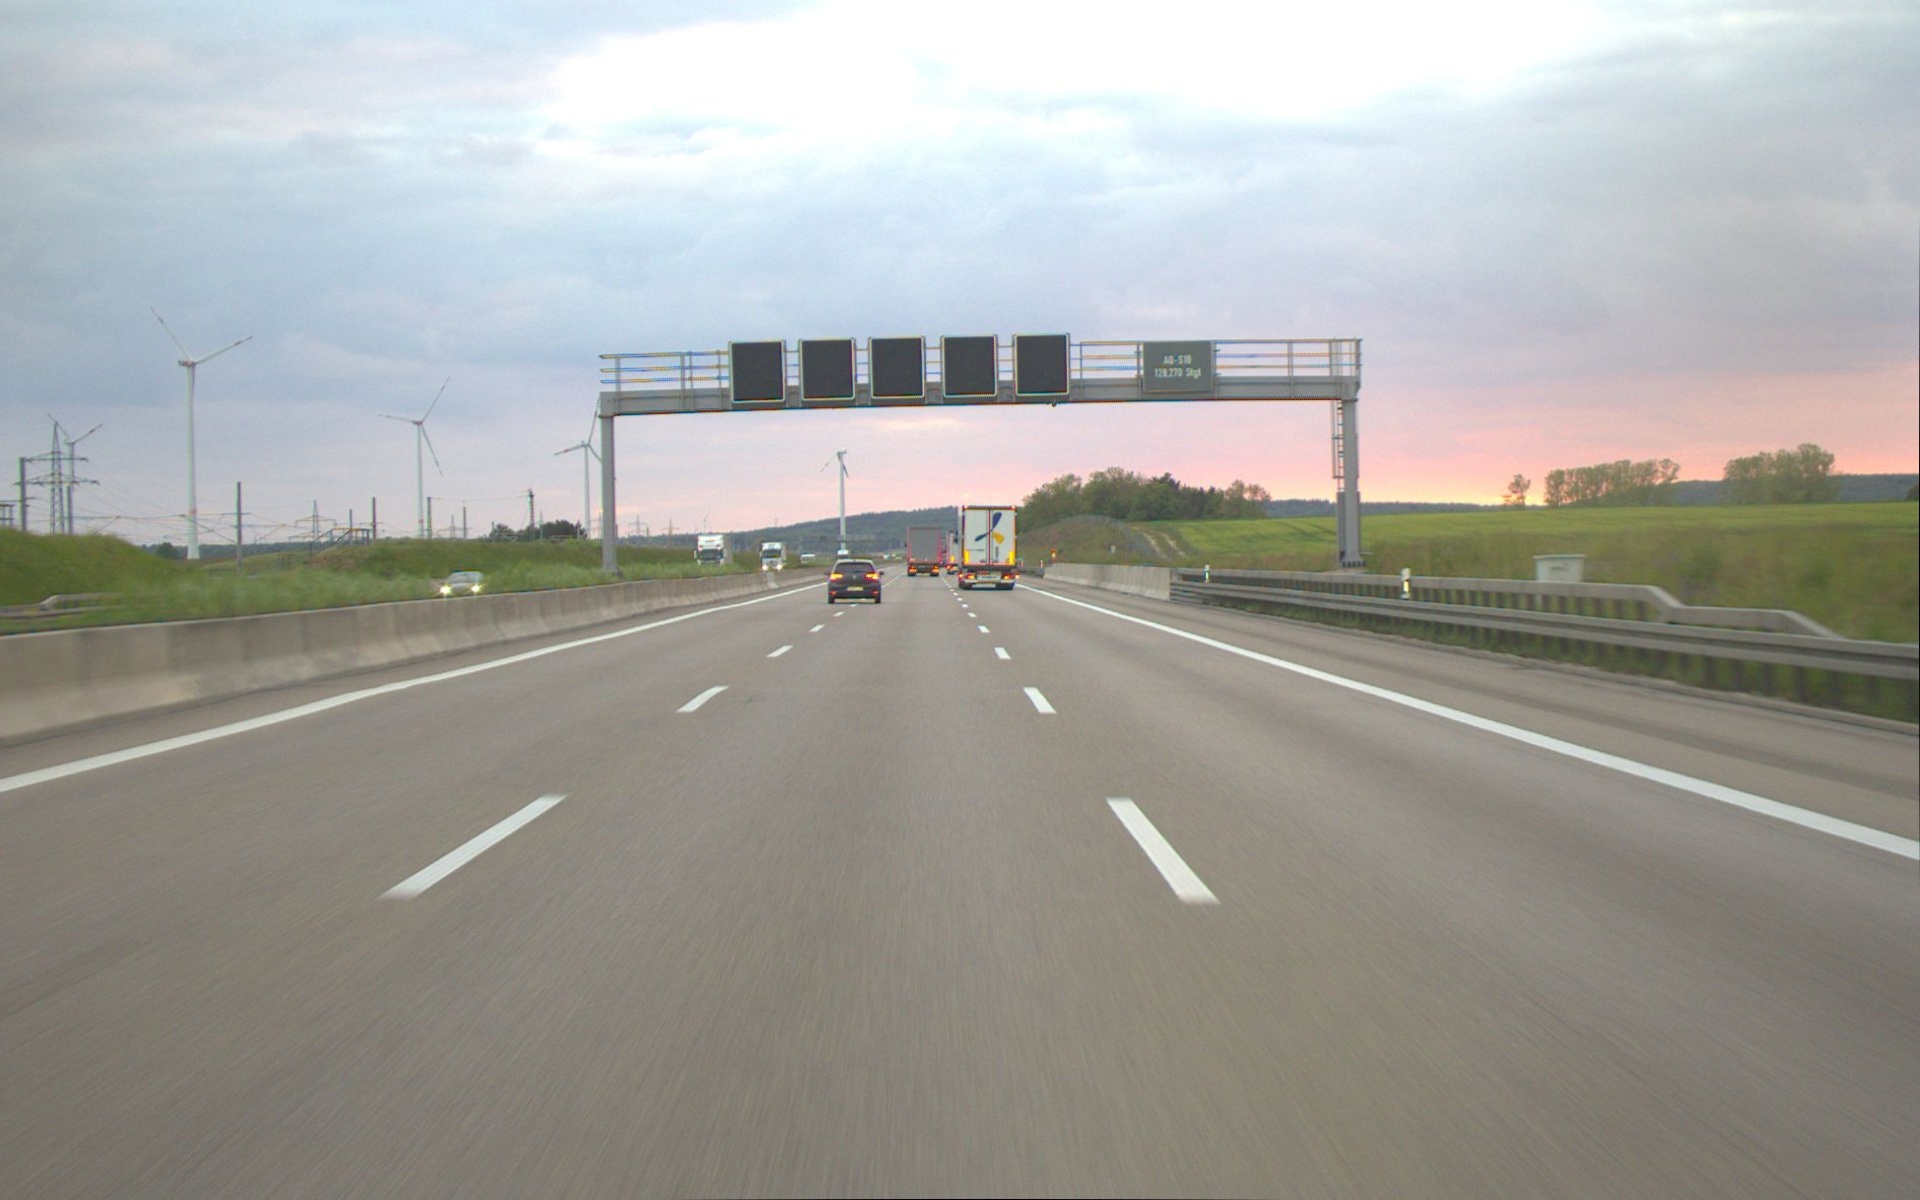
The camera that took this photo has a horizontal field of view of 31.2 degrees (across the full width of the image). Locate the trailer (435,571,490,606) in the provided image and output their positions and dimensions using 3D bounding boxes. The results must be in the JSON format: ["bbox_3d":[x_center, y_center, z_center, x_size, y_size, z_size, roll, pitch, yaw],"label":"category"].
[{"bbox_3d":[-21.455,-0.511,148.410,1.717,1.459,4.000,-1,1,1],"label":"trailer"}]

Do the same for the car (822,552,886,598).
[{"bbox_3d":[-3.474,-0.843,113.140,1.987,1.425,4.000,-1,1,0],"label":"car"}]

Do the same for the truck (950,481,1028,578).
[{"bbox_3d":[1.335,-3.387,166.962,3.675,4.549,10.981,0,1,0],"label":"truck"}]
